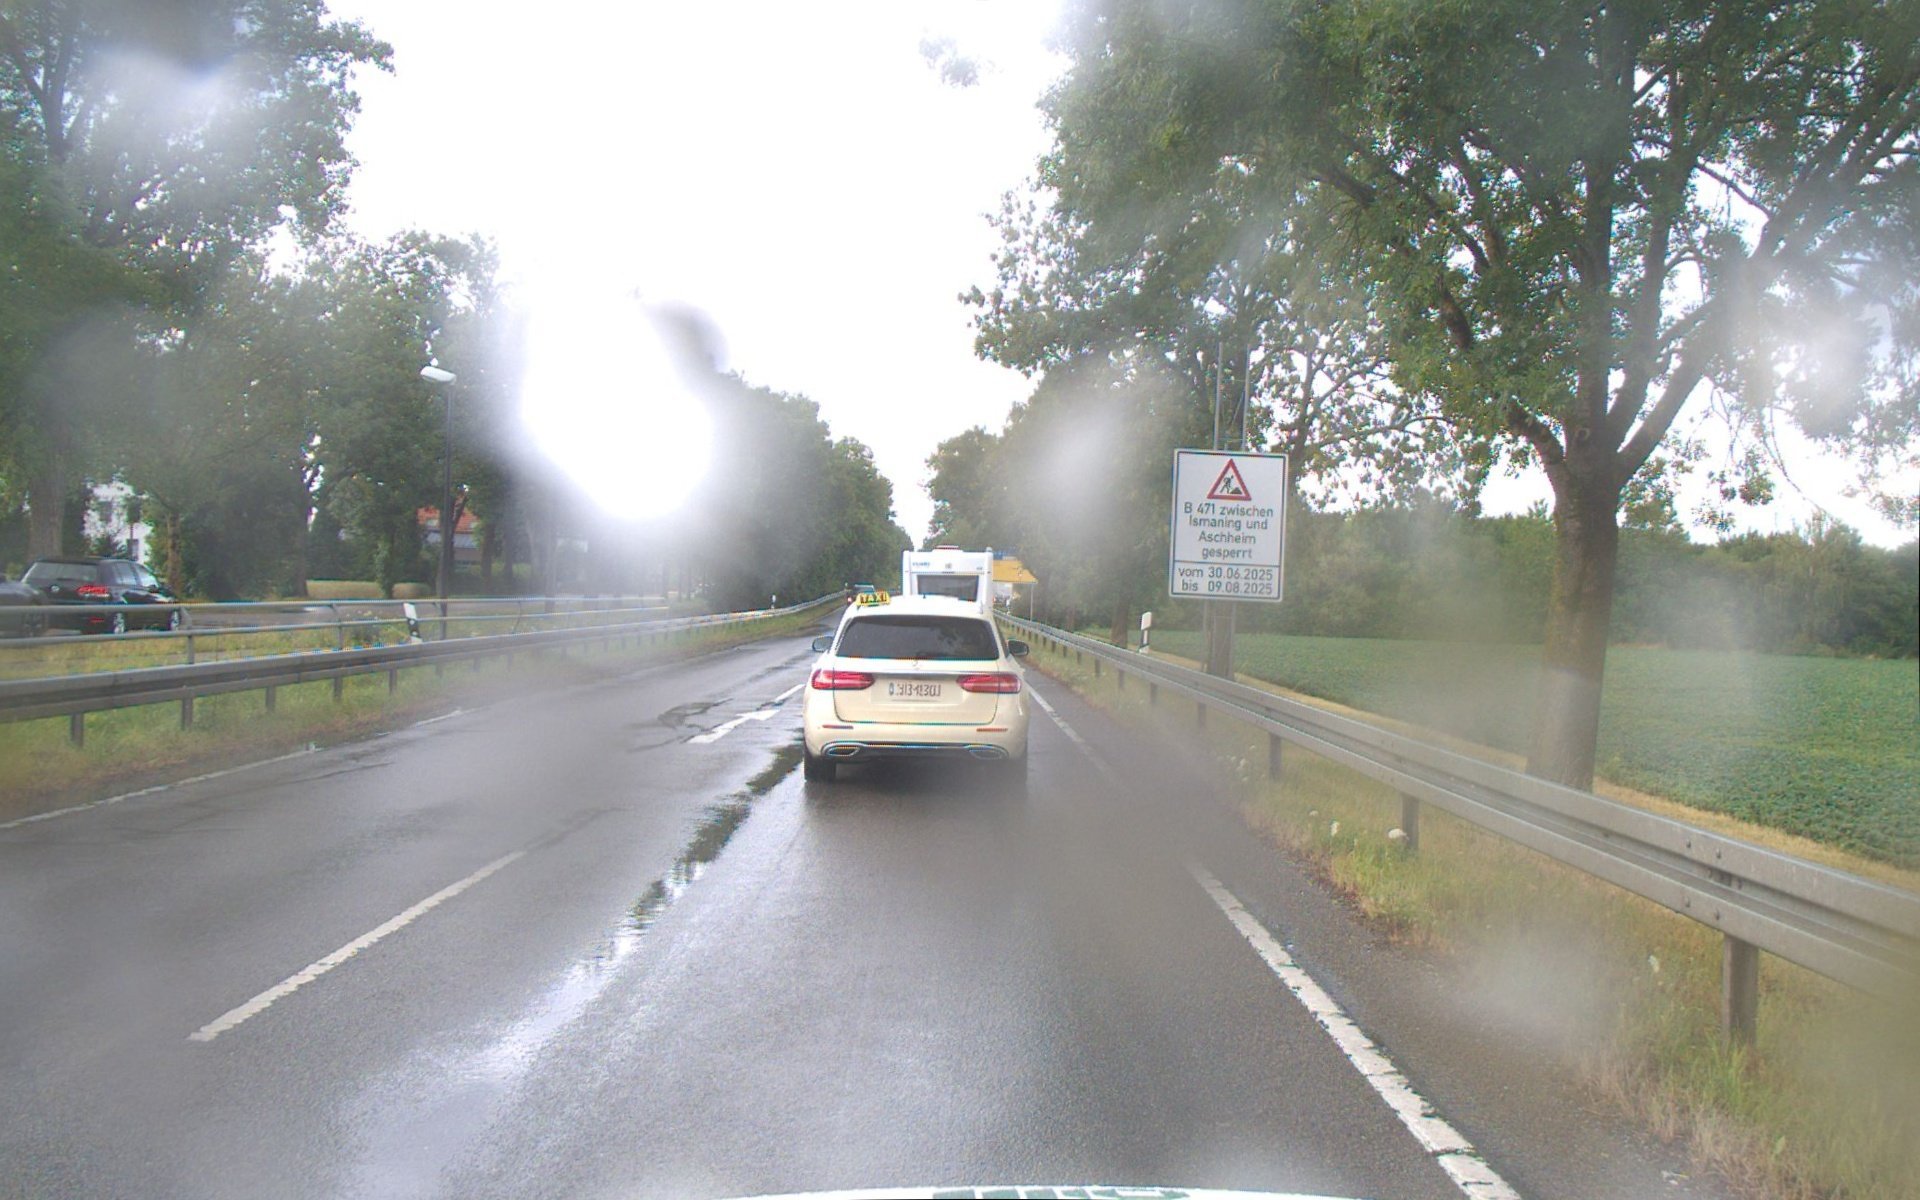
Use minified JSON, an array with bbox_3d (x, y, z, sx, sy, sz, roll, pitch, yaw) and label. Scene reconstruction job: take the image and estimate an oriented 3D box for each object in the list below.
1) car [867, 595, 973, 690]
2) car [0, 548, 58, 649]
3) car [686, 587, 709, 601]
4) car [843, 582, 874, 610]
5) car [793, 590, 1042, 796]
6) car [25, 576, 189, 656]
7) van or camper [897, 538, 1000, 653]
[{"bbox_3d":[-0.602,0.649,27.751,1.630,1.456,4.000,0,0,0],"label":"car"},{"bbox_3d":[-15.157,-0.042,24.161,1.486,1.517,5.117,2,0,-5],"label":"car"},{"bbox_3d":[-28.125,-0.638,177.114,1.749,1.440,4.000,2,0,0],"label":"car"},{"bbox_3d":[-6.222,-0.243,101.434,1.728,1.647,3.999,0,0,-1],"label":"car"},{"bbox_3d":[-0.293,0.679,14.189,1.826,1.502,4.000,0,0,0],"label":"car"},{"bbox_3d":[-15.664,0.257,30.564,1.257,1.354,3.894,2,0,-5],"label":"car"},{"bbox_3d":[-0.259,-0.122,42.932,2.438,2.732,5.700,1,0,0],"label":"van or camper"}]
